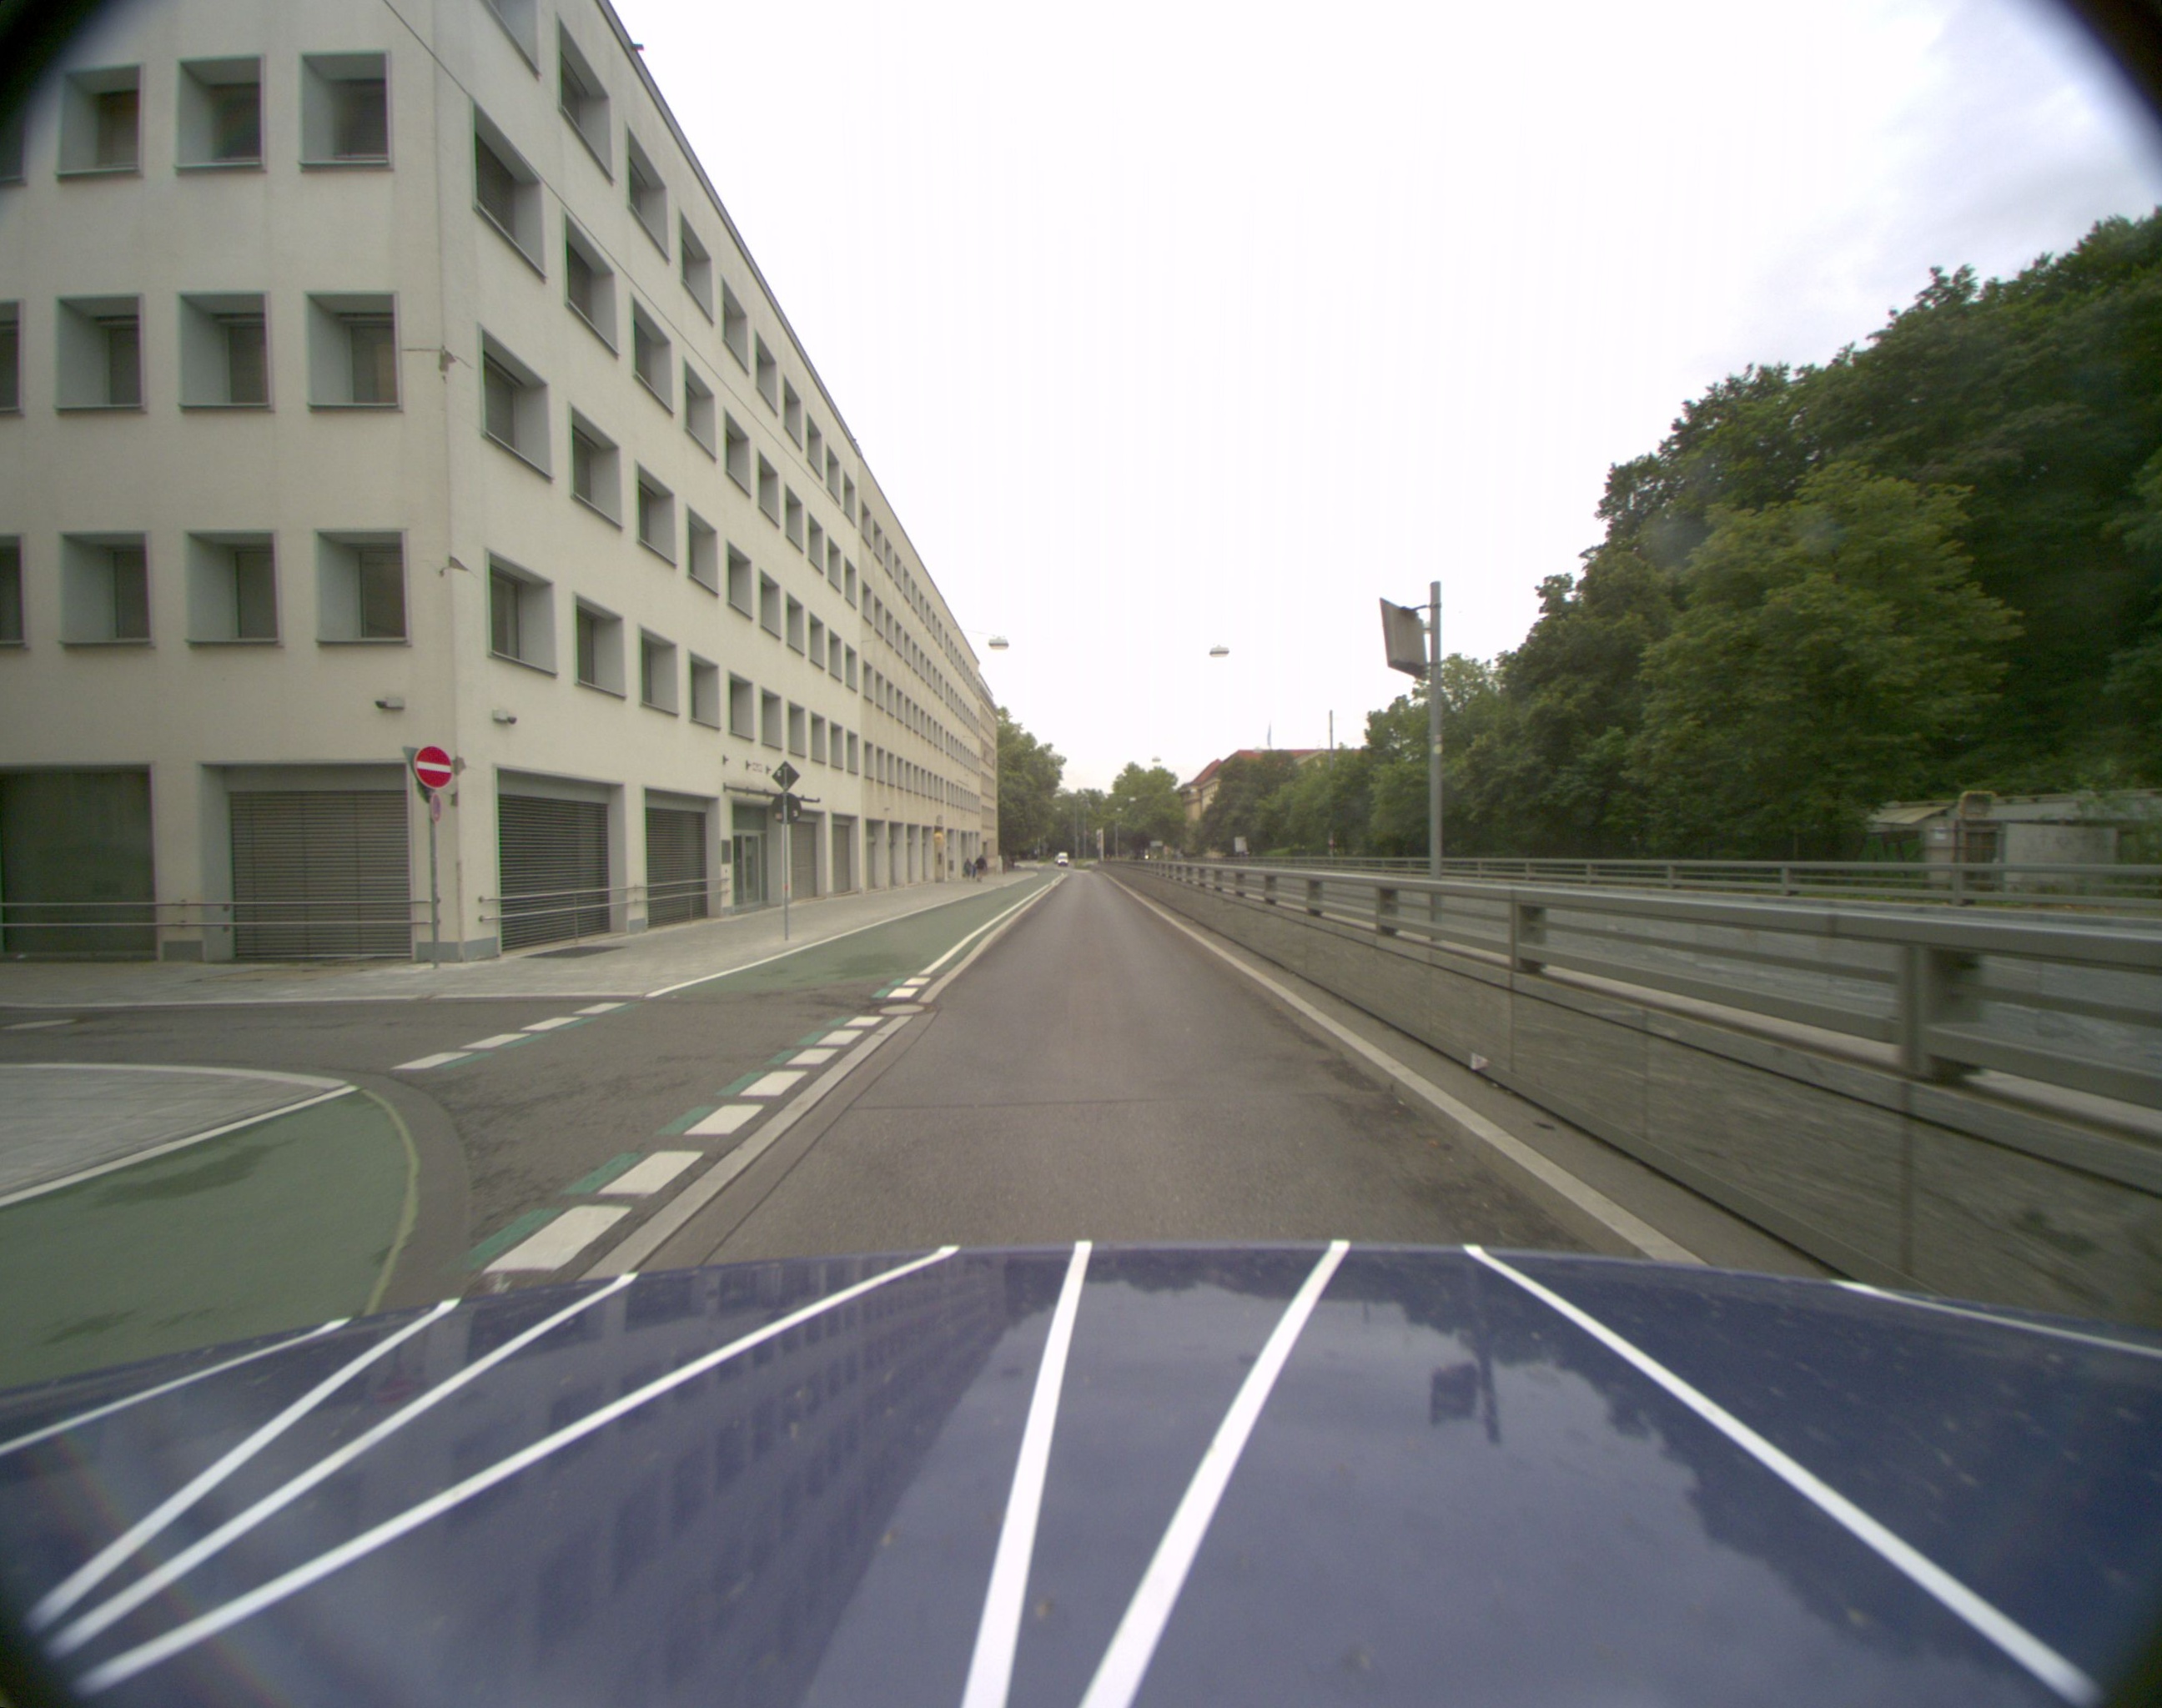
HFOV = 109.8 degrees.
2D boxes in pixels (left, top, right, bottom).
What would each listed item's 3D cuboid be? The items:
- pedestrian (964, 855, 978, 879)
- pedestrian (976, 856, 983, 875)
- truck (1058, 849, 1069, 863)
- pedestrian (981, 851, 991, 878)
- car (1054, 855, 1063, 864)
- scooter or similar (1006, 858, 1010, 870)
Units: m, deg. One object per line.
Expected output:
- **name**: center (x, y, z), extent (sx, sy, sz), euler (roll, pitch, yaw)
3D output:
- **pedestrian**: center (-7.732, 0.889, 53.409), extent (0.754, 1.610, 0.704), euler (3, 1, 0)
- **pedestrian**: center (-6.969, 0.788, 52.015), extent (0.368, 1.239, 0.470), euler (3, 1, 0)
- **truck**: center (-3.517, 0.426, 153.845), extent (2.058, 2.625, 4.411), euler (-2, 1, -1)
- **pedestrian**: center (-6.479, 0.723, 52.022), extent (0.514, 1.825, 0.602), euler (3, 1, 0)
- **car**: center (-4.984, 1.247, 169.960), extent (1.999, 1.738, 3.999), euler (-2, 1, -1)
- **scooter or similar**: center (-7.825, 1.106, 81.408), extent (0.387, 1.265, 1.119), euler (1, 2, 0)
